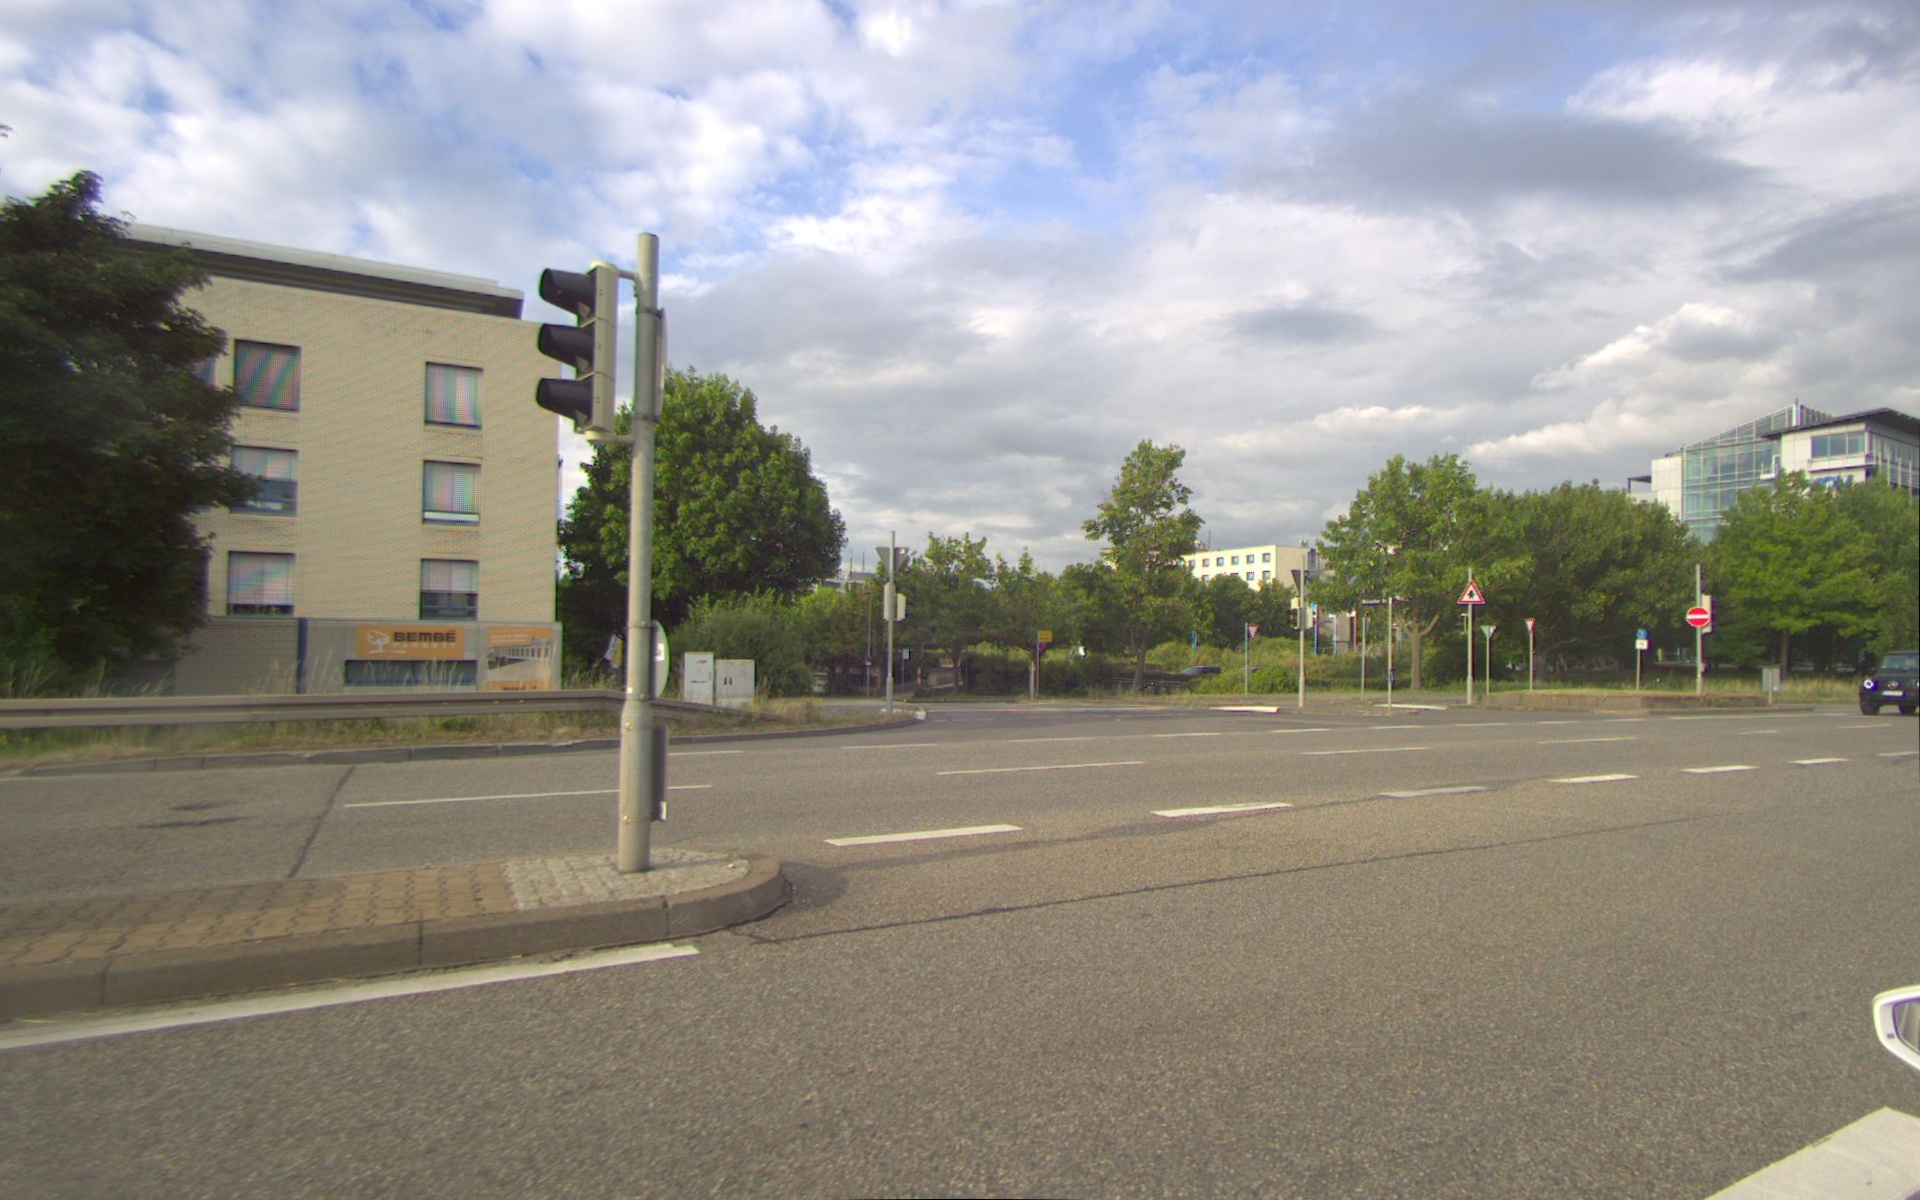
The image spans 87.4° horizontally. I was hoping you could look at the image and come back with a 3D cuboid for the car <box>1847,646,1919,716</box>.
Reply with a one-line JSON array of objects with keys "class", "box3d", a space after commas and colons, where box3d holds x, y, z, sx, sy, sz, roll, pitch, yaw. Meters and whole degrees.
[{"class": "car", "box3d": [29.478, 2.478, 30.817, 5.033, 2.016, 1.925, 3, -3, -31]}]
